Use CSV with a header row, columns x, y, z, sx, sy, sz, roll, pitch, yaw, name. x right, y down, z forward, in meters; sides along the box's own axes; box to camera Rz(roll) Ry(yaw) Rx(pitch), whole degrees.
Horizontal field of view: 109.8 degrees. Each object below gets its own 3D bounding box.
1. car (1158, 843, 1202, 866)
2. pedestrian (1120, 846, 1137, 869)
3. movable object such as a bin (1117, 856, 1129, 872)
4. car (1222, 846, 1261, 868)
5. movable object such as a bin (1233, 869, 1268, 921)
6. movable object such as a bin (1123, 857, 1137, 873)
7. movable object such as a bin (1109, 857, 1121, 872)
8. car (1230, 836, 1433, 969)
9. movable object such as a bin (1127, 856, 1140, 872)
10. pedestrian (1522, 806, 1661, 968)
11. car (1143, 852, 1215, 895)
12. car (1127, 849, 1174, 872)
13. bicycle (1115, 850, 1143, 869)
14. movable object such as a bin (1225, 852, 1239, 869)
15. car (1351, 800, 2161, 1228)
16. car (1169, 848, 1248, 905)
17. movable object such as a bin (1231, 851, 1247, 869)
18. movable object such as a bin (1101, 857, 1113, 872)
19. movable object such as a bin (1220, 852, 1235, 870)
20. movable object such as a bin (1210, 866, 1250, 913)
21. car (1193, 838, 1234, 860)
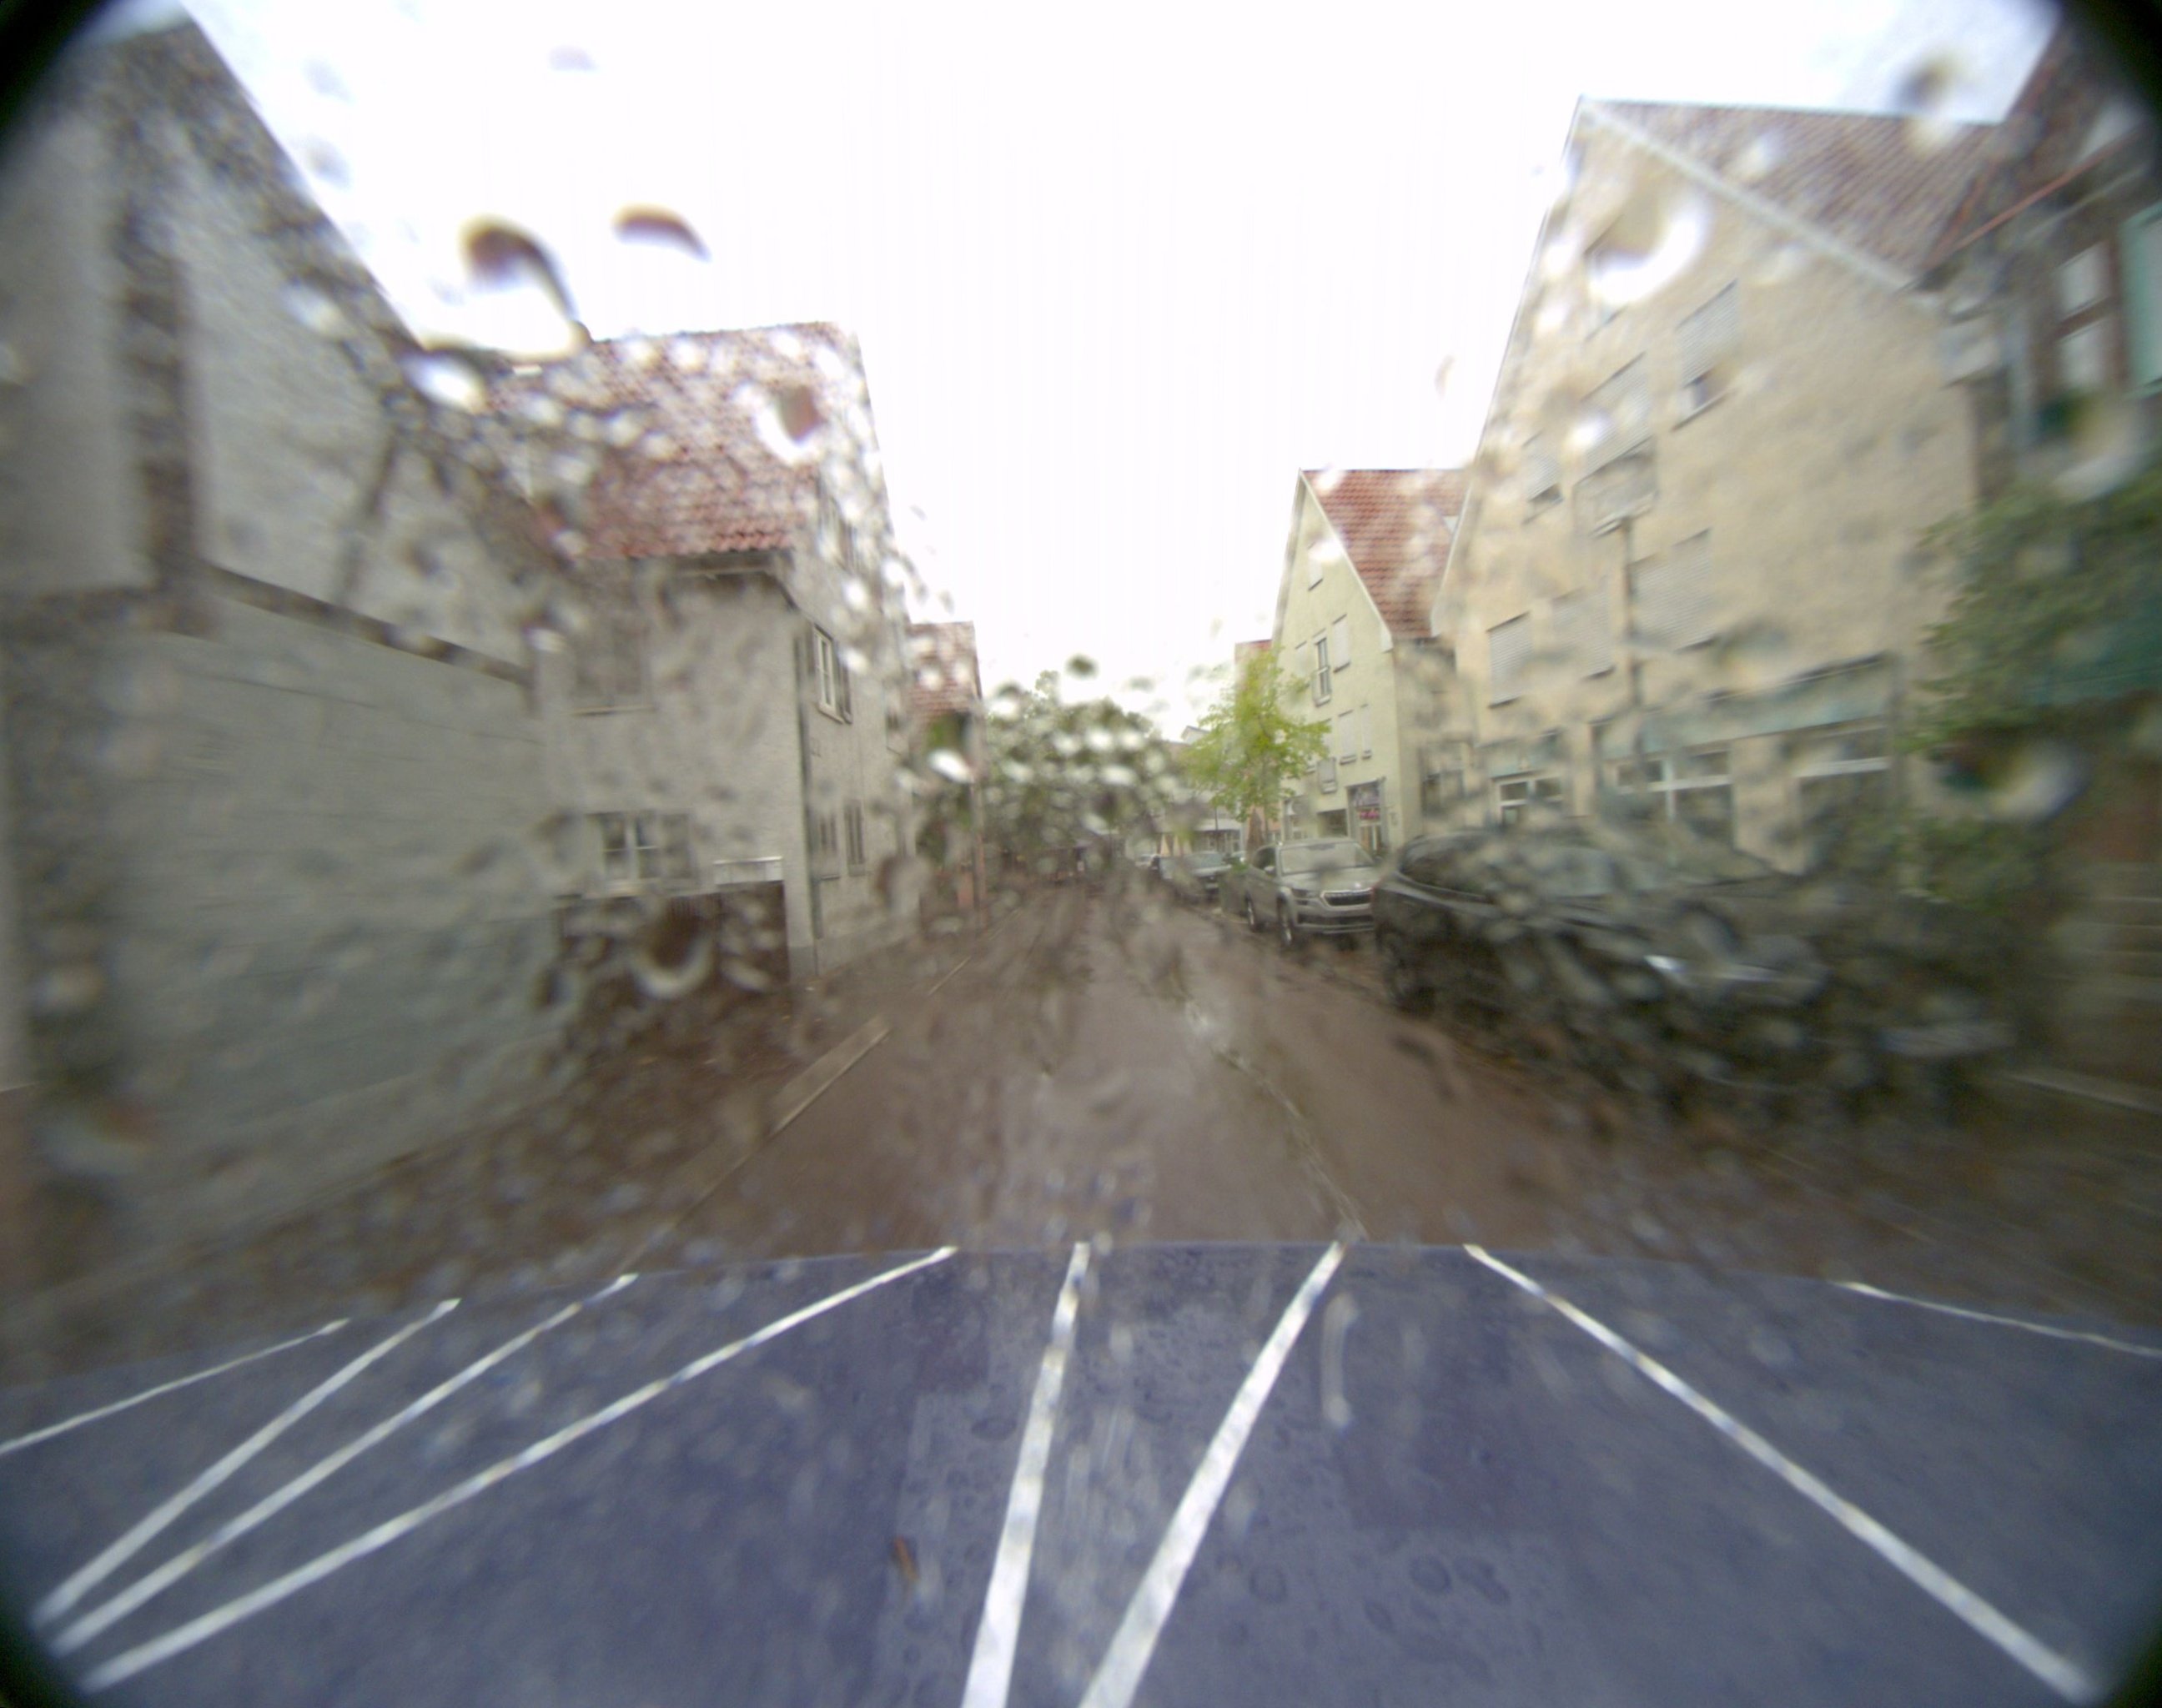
x,y,z,sx,sy,sz,roll,pitch,yaw,name
8.133,0.034,62.089,1.789,1.460,3.955,-3,2,36,car
3.714,0.279,59.051,0.910,1.689,0.863,0,4,44,pedestrian
3.036,0.750,55.024,0.538,1.136,0.729,-1,1,31,movable object such as a bin
11.886,0.219,56.058,1.851,1.443,4.079,-4,-1,25,car
3.696,0.882,16.555,0.553,1.040,0.534,-5,2,-3,movable object such as a bin
3.508,0.770,54.633,0.726,1.077,0.605,-4,2,24,movable object such as a bin
2.490,0.764,55.354,0.538,1.124,0.729,-1,1,31,movable object such as a bin
3.886,0.611,12.727,1.828,1.657,4.641,-5,2,1,car
3.831,0.727,55.231,0.726,1.087,0.611,-4,2,24,movable object such as a bin
5.716,0.356,8.527,1.174,1.672,0.792,-3,3,36,pedestrian
3.740,0.718,29.758,1.867,1.433,4.618,-4,0,-4,car
5.302,0.457,57.713,1.788,1.547,3.956,-2,1,34,car
3.753,0.451,59.069,0.925,1.343,2.220,0,3,43,bicycle
10.419,0.466,52.451,0.682,1.129,0.720,-3,1,33,movable object such as a bin
3.762,0.637,5.497,1.829,1.657,4.641,-5,1,-1,car
3.960,0.643,24.279,1.866,1.515,4.328,-5,0,3,car
10.687,0.419,51.391,0.700,1.115,0.720,-6,1,32,movable object such as a bin
1.906,0.797,55.835,0.538,1.077,0.729,-1,1,31,movable object such as a bin
9.989,0.466,51.835,0.700,1.137,0.720,-3,0,32,movable object such as a bin
3.685,0.870,18.867,0.748,1.077,0.744,-5,2,-2,movable object such as a bin
11.802,-0.452,67.411,1.789,1.630,4.447,-3,2,36,car
